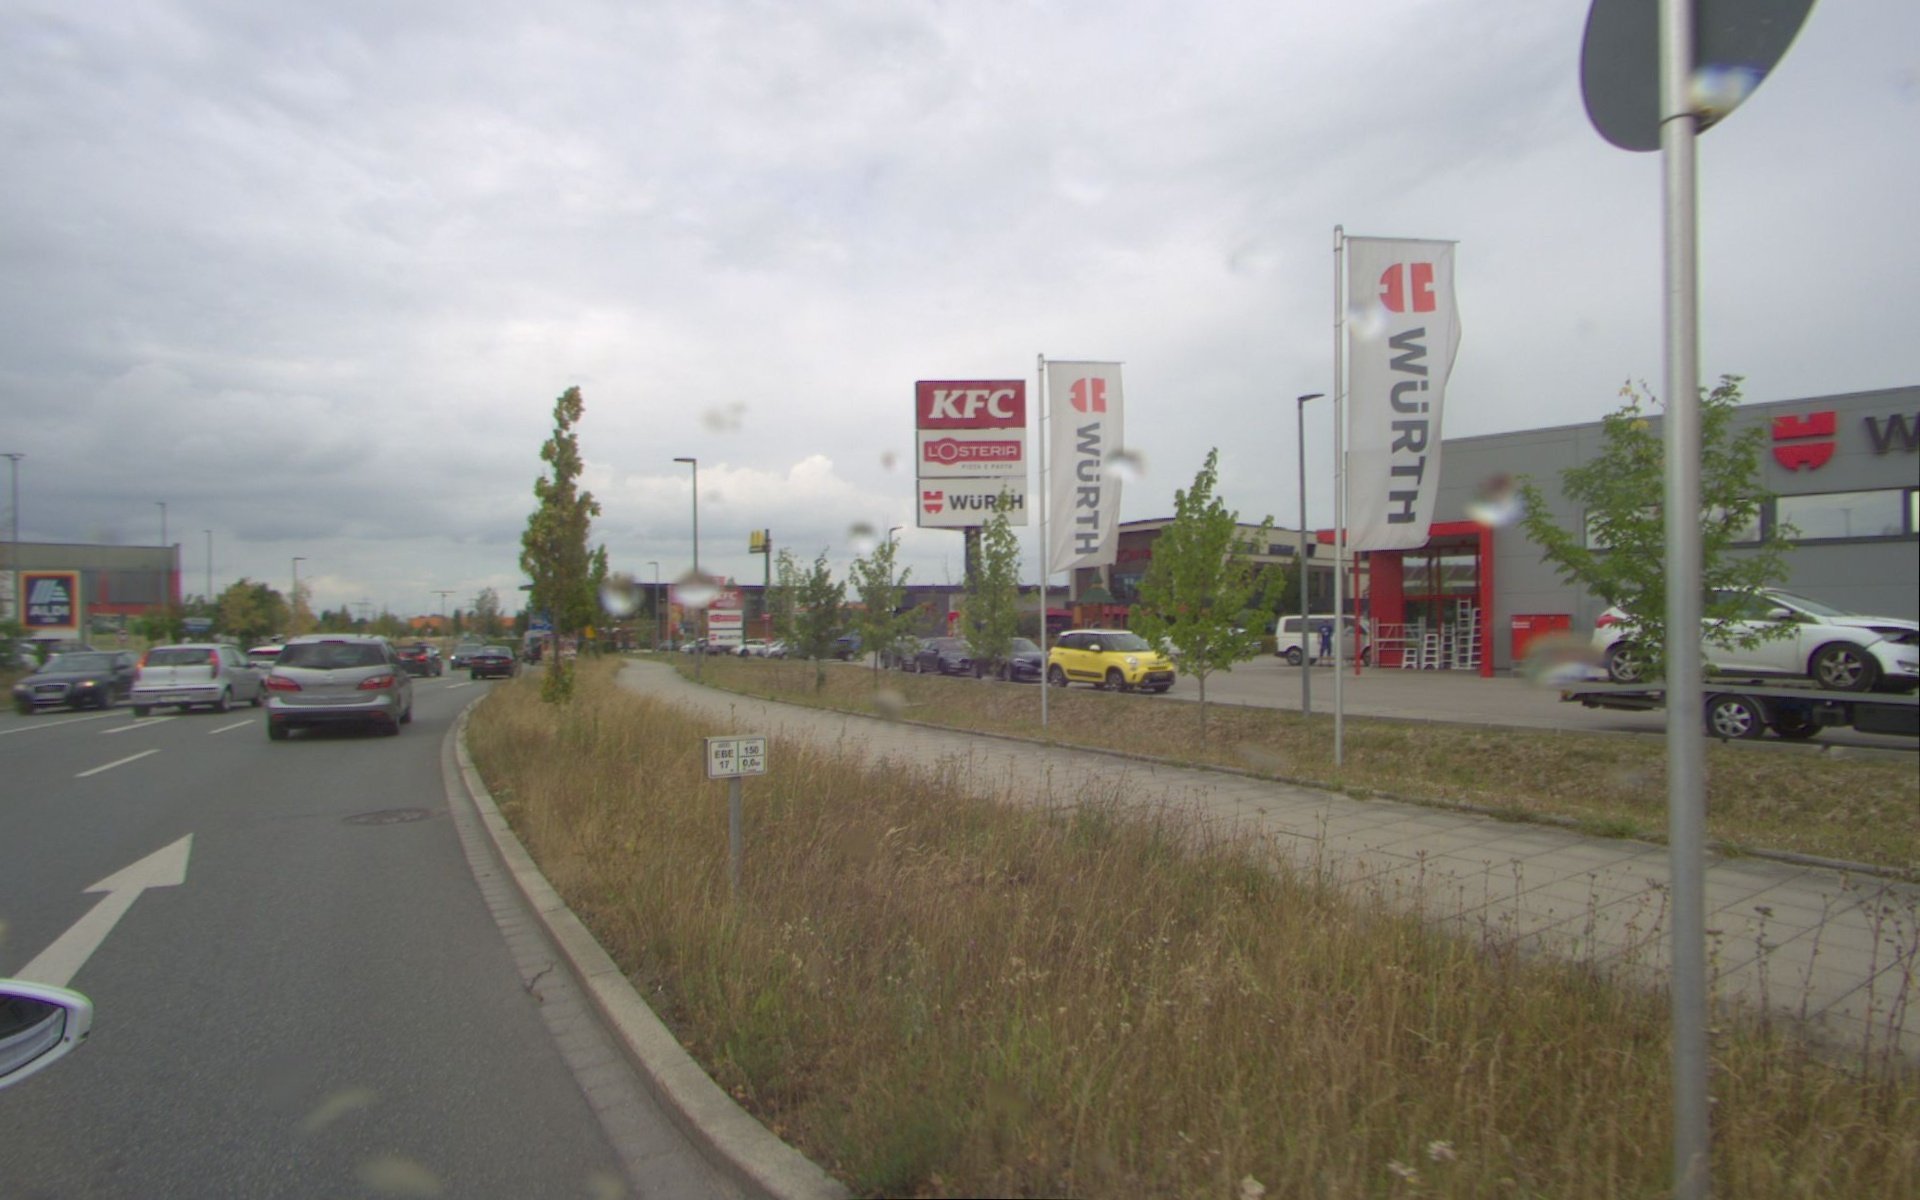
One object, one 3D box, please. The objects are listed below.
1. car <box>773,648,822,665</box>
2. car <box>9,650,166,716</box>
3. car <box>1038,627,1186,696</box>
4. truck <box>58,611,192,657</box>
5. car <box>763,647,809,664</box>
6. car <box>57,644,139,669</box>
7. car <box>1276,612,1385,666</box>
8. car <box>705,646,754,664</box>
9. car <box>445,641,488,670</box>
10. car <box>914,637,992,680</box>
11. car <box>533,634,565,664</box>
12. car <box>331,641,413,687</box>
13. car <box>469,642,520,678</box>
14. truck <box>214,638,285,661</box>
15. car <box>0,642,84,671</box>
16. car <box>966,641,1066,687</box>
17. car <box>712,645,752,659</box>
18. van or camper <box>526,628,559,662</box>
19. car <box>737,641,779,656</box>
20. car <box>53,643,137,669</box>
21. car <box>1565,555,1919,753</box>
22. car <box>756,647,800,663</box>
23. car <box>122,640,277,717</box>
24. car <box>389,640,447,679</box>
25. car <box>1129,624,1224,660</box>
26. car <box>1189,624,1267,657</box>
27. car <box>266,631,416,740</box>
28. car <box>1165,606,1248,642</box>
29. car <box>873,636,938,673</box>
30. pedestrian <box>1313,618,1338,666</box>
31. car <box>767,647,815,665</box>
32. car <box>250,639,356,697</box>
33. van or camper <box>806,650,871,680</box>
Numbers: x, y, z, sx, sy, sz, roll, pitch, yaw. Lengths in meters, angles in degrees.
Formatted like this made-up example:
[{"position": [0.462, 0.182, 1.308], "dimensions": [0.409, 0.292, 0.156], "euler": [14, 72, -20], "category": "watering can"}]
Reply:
[{"position": [-12.600, 4.360, 77.541], "dimensions": [3.542, 1.260, 1.627], "euler": [-1, -2, -19], "category": "car"}, {"position": [-21.464, 1.974, 24.834], "dimensions": [1.746, 1.402, 4.137], "euler": [-1, -2, -24], "category": "car"}, {"position": [4.079, 1.649, 27.525], "dimensions": [1.727, 1.705, 4.279], "euler": [-1, -2, -30], "category": "car"}, {"position": [-58.387, 2.388, 70.309], "dimensions": [2.627, 2.983, 8.186], "euler": [-1, -2, -1], "category": "truck"}, {"position": [-14.281, 4.555, 82.074], "dimensions": [3.542, 1.260, 1.627], "euler": [-1, -2, -19], "category": "car"}, {"position": [-53.994, 3.537, 62.829], "dimensions": [3.796, 1.446, 1.730], "euler": [0, -2, -38], "category": "car"}, {"position": [14.549, 1.536, 39.444], "dimensions": [3.636, 2.004, 1.662], "euler": [-3, -2, 42], "category": "car"}, {"position": [-17.644, 4.167, 76.635], "dimensions": [3.542, 1.260, 1.627], "euler": [-1, -2, -19], "category": "car"}, {"position": [-28.269, 3.150, 57.409], "dimensions": [1.877, 1.588, 4.325], "euler": [-1, -2, -22], "category": "car"}, {"position": [-0.331, 2.253, 38.987], "dimensions": [1.687, 1.518, 3.991], "euler": [-1, -2, -21], "category": "car"}, {"position": [-29.068, 3.478, 70.894], "dimensions": [1.966, 1.947, 4.838], "euler": [-1, -3, -21], "category": "car"}, {"position": [-21.437, 2.289, 36.684], "dimensions": [1.780, 1.527, 4.873], "euler": [-1, -2, -21], "category": "car"}, {"position": [-19.686, 2.514, 42.481], "dimensions": [1.730, 1.404, 4.290], "euler": [0, -2, -22], "category": "car"}, {"position": [-97.953, 6.829, 138.121], "dimensions": [7.584, 2.954, 2.350], "euler": [0, -1, -22], "category": "truck"}, {"position": [-51.671, 3.149, 55.725], "dimensions": [3.937, 1.460, 1.993], "euler": [-1, -2, -26], "category": "car"}, {"position": [1.770, 2.069, 33.141], "dimensions": [1.715, 1.379, 3.989], "euler": [-1, -2, -23], "category": "car"}, {"position": [-21.971, 4.992, 96.463], "dimensions": [3.542, 1.260, 1.627], "euler": [-1, -2, -19], "category": "car"}, {"position": [-33.708, 3.641, 81.007], "dimensions": [2.159, 2.573, 6.155], "euler": [-1, -3, -20], "category": "van or camper"}, {"position": [-18.309, 4.415, 90.873], "dimensions": [3.542, 1.260, 1.627], "euler": [-1, -2, -19], "category": "car"}, {"position": [-52.743, 3.420, 61.149], "dimensions": [3.797, 1.446, 1.729], "euler": [0, -2, -38], "category": "car"}, {"position": [12.236, 0.652, 12.700], "dimensions": [2.168, 2.352, 7.825], "euler": [-1, -2, -27], "category": "car"}, {"position": [-15.694, 4.732, 86.292], "dimensions": [3.542, 1.260, 1.627], "euler": [-1, -2, -19], "category": "car"}, {"position": [-16.620, 1.658, 22.102], "dimensions": [1.771, 1.479, 3.806], "euler": [-1, -1, -22], "category": "car"}, {"position": [-24.120, 2.620, 44.695], "dimensions": [1.878, 1.588, 4.323], "euler": [0, -2, -23], "category": "car"}, {"position": [11.443, 2.262, 53.236], "dimensions": [4.692, 1.770, 1.743], "euler": [-3, -2, 43], "category": "car"}, {"position": [15.663, 2.374, 58.664], "dimensions": [3.957, 1.883, 1.983], "euler": [-2, -2, 43], "category": "car"}, {"position": [-10.245, 1.331, 16.854], "dimensions": [1.794, 1.583, 4.383], "euler": [1, -2, -27], "category": "car"}, {"position": [13.560, 1.348, 55.119], "dimensions": [3.957, 1.883, 1.983], "euler": [-2, -2, 43], "category": "car"}, {"position": [-2.456, 2.402, 44.362], "dimensions": [1.687, 1.518, 3.991], "euler": [-1, -2, -21], "category": "car"}, {"position": [13.854, 1.585, 37.944], "dimensions": [0.652, 1.831, 0.644], "euler": [-1, -1, 43], "category": "pedestrian"}, {"position": [-13.480, 4.466, 80.019], "dimensions": [3.542, 1.260, 1.627], "euler": [-1, -2, -19], "category": "car"}, {"position": [-18.834, 1.888, 28.884], "dimensions": [1.771, 1.469, 4.237], "euler": [-1, -1, -22], "category": "car"}, {"position": [-8.062, 4.270, 66.187], "dimensions": [3.932, 1.817, 1.818], "euler": [-1, -1, -21], "category": "van or camper"}]
